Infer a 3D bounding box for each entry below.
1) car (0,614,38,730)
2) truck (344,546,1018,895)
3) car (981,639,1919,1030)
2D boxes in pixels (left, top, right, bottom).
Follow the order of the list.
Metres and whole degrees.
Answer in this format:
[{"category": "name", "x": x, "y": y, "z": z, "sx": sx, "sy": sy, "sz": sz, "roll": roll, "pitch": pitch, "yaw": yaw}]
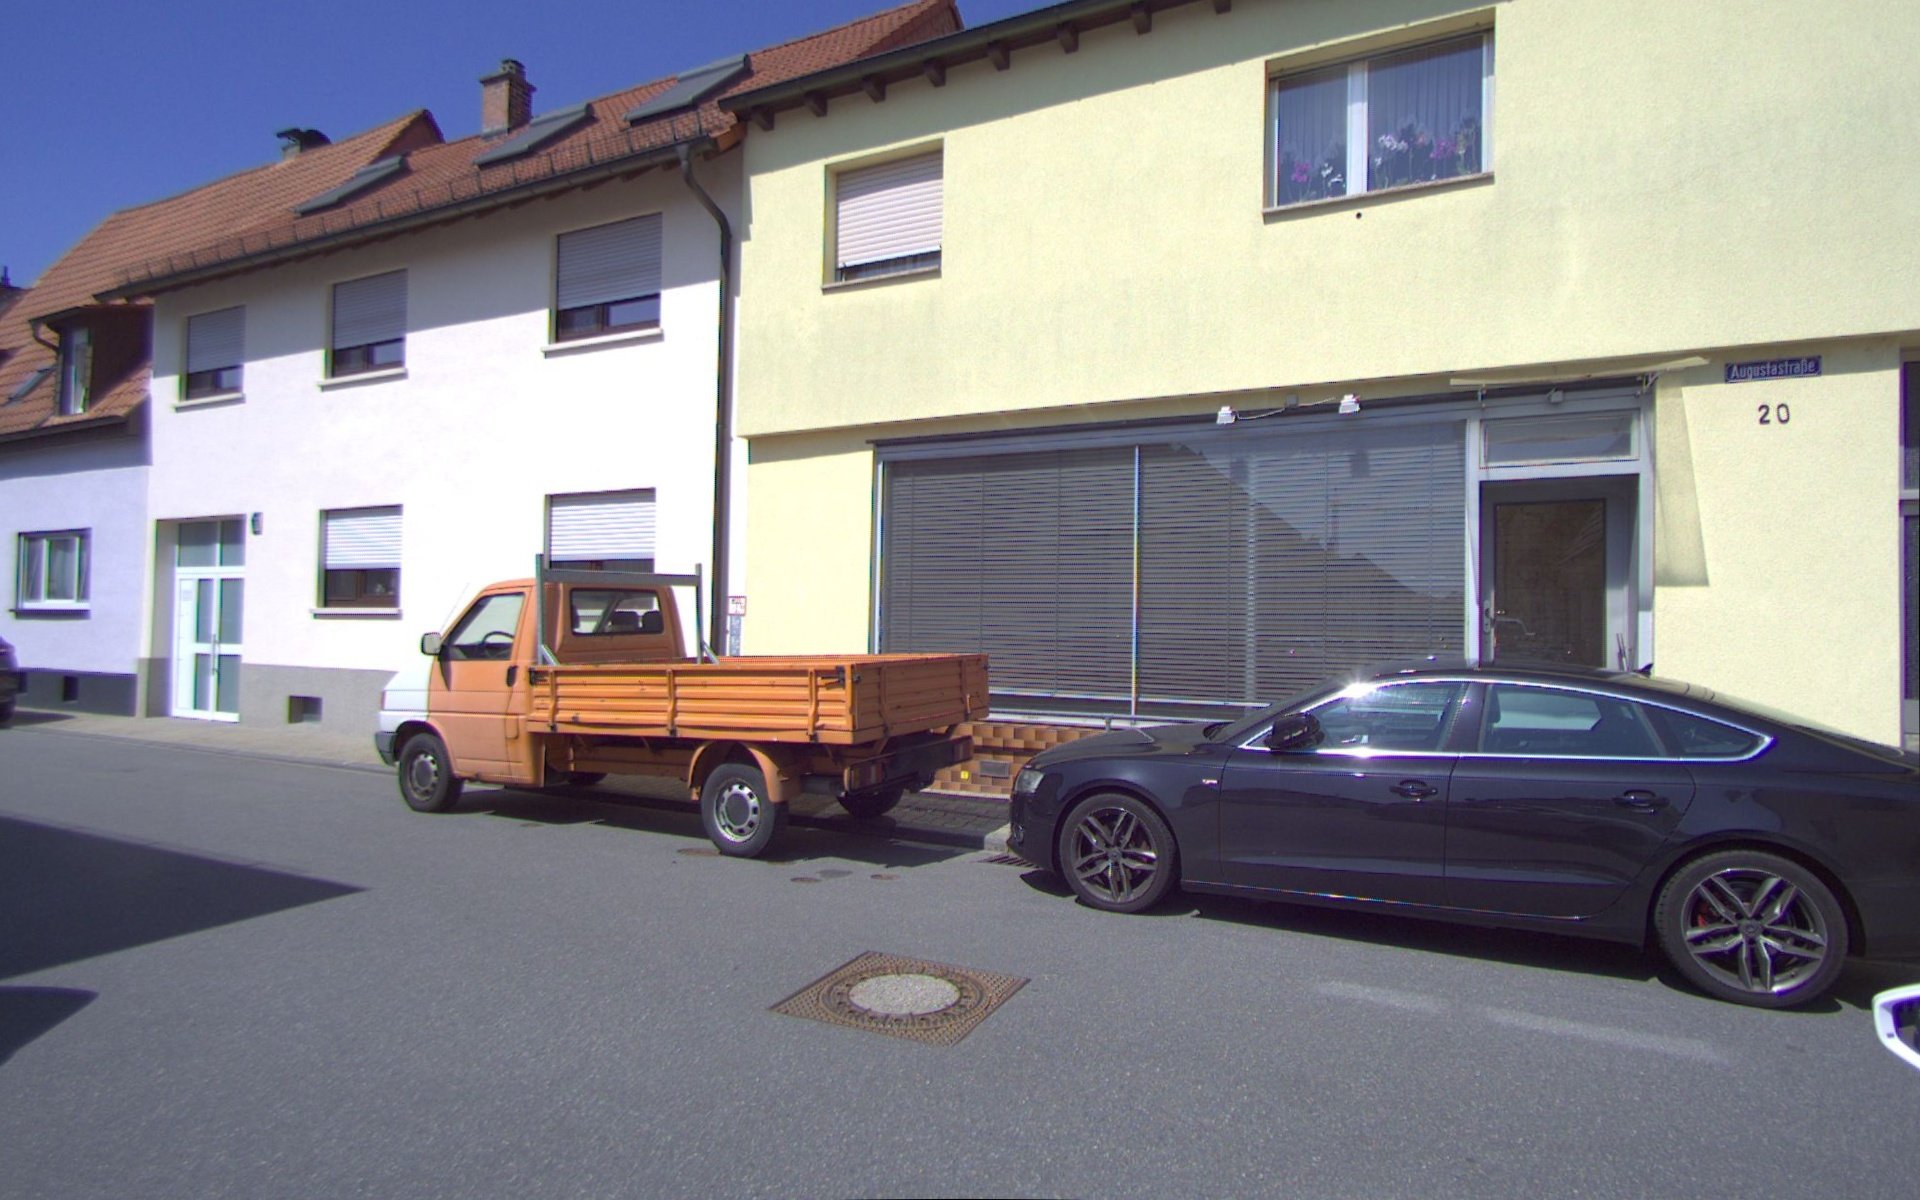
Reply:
[{"category": "car", "x": -15.637, "y": 1.012, "z": 14.648, "sx": 3.925, "sy": 1.635, "sz": 1.849, "roll": 0, "pitch": -3, "yaw": 25}, {"category": "truck", "x": -2.271, "y": 0.745, "z": 8.012, "sx": 4.986, "sy": 2.040, "sz": 2.187, "roll": 0, "pitch": -2, "yaw": 27}, {"category": "car", "x": 2.600, "y": 1.023, "z": 5.490, "sx": 4.544, "sy": 1.412, "sz": 1.927, "roll": 0, "pitch": -5, "yaw": 26}]
